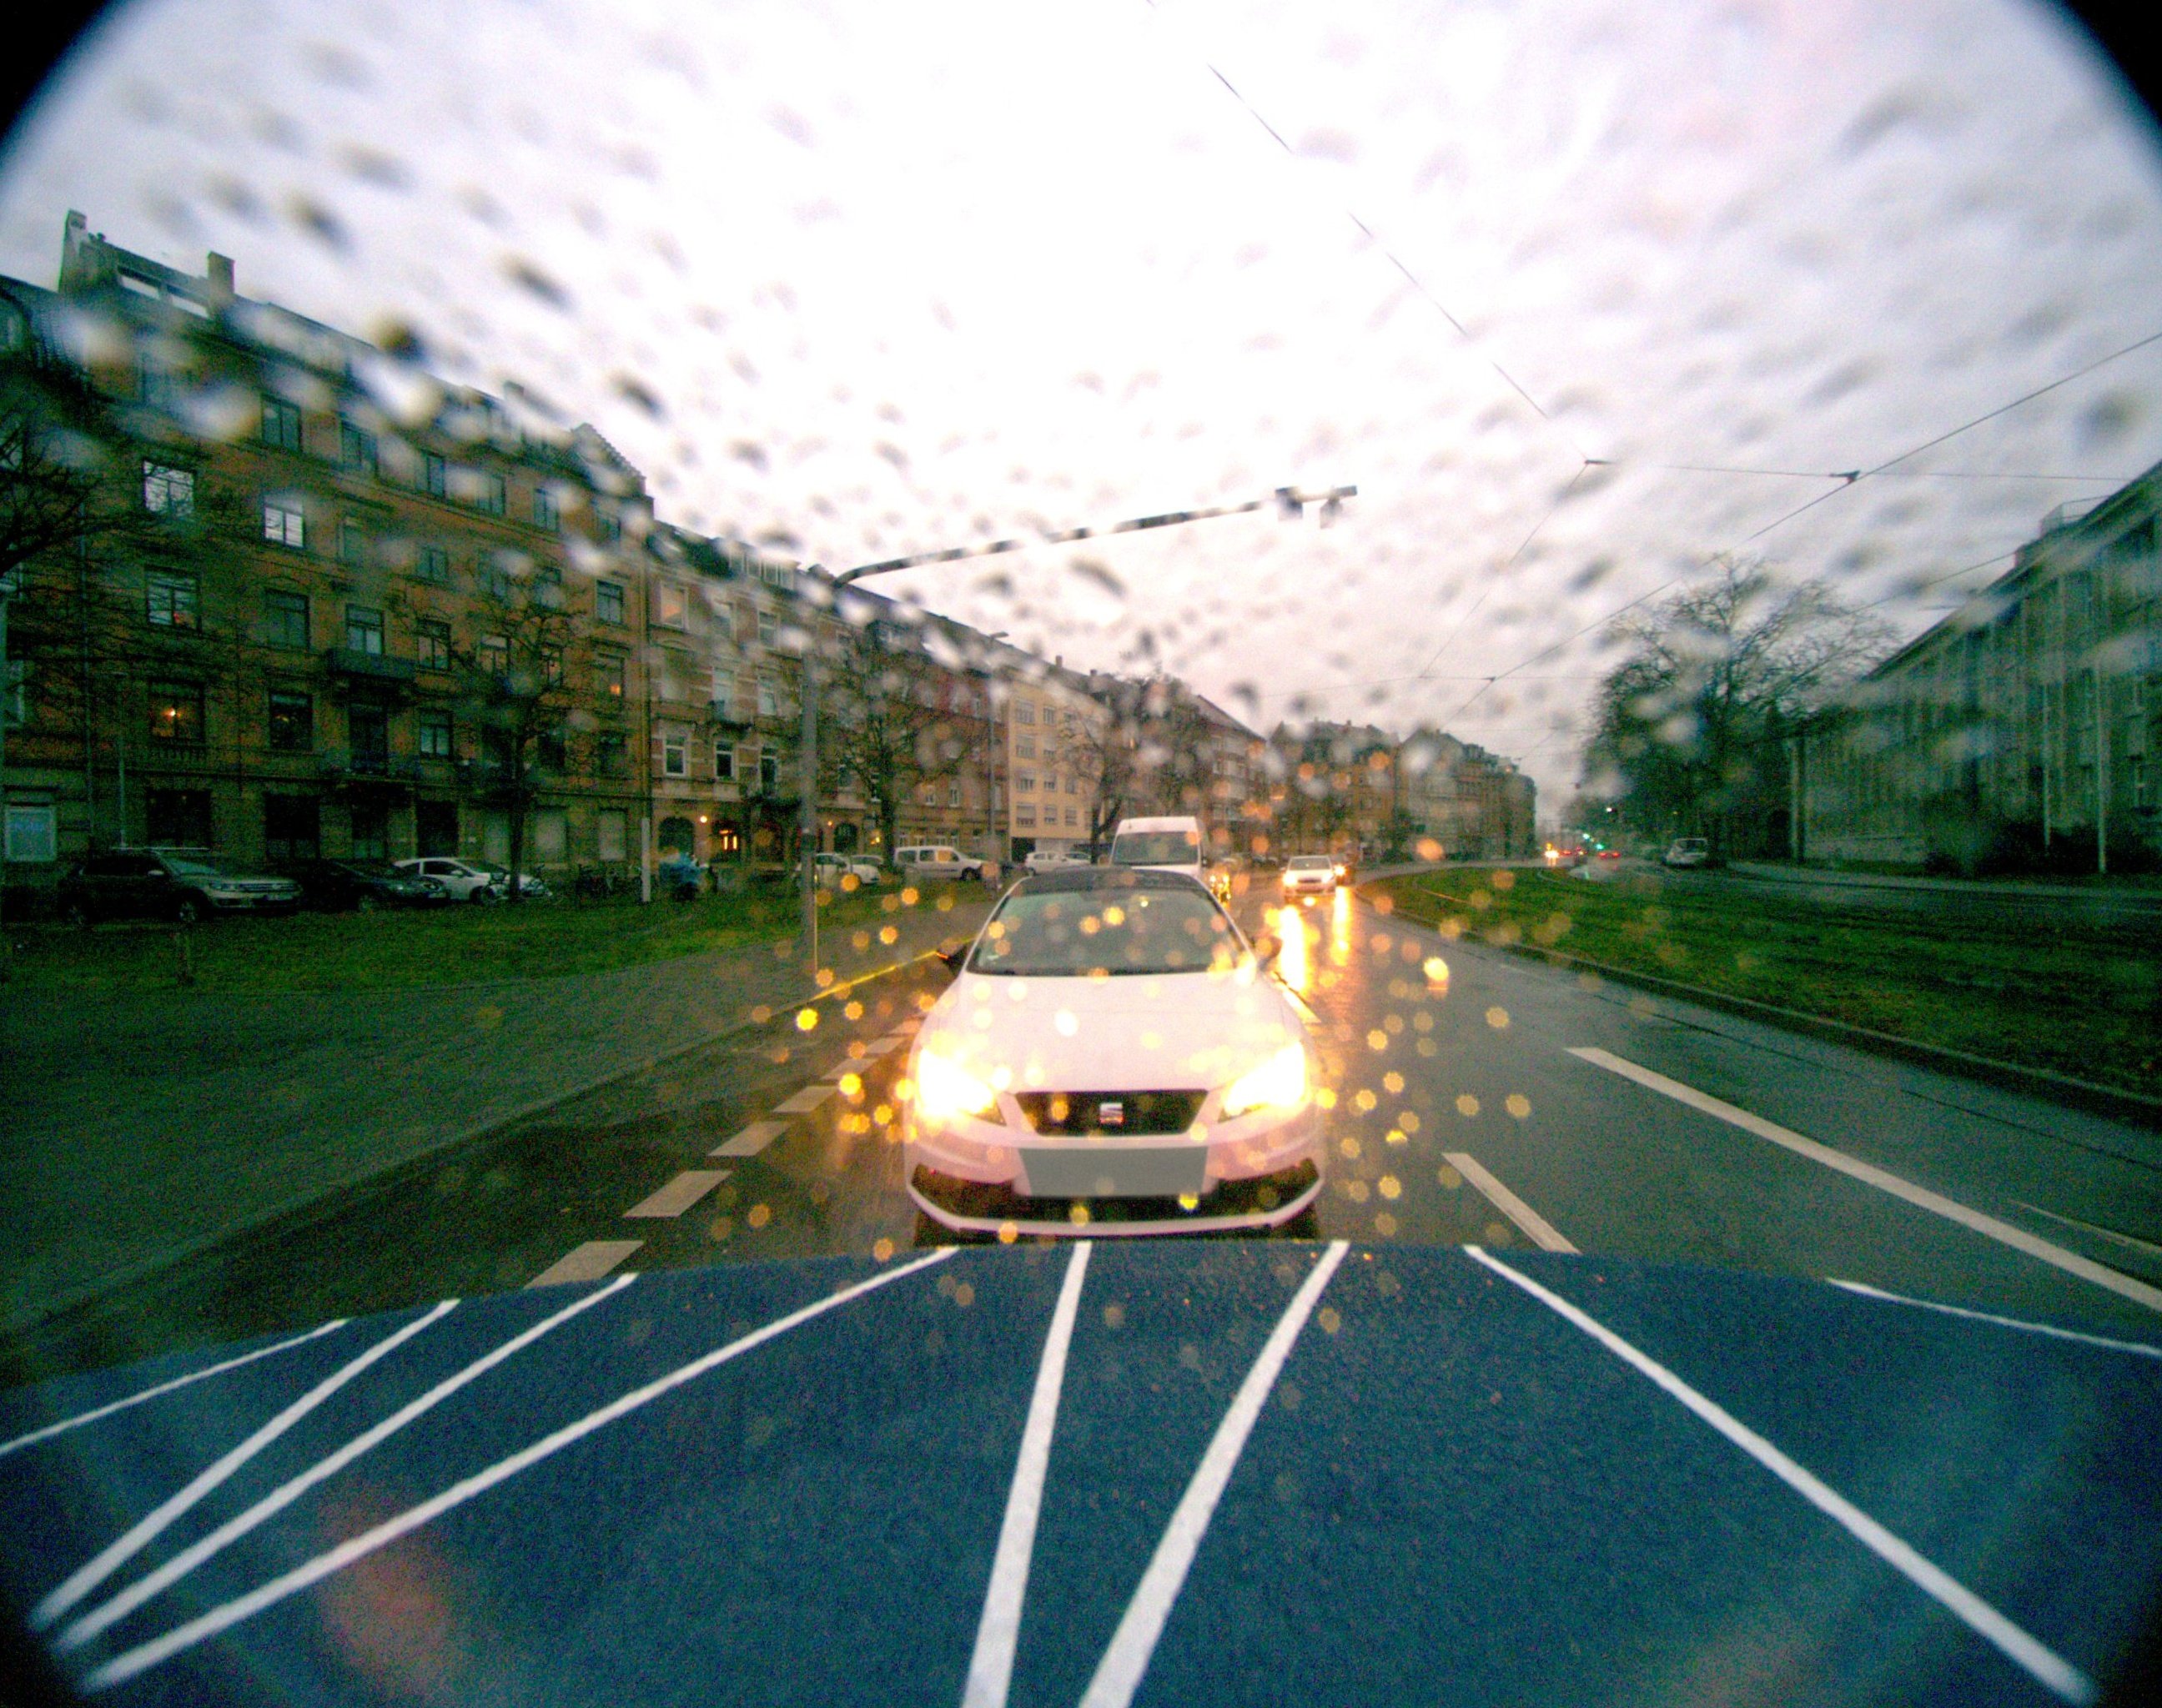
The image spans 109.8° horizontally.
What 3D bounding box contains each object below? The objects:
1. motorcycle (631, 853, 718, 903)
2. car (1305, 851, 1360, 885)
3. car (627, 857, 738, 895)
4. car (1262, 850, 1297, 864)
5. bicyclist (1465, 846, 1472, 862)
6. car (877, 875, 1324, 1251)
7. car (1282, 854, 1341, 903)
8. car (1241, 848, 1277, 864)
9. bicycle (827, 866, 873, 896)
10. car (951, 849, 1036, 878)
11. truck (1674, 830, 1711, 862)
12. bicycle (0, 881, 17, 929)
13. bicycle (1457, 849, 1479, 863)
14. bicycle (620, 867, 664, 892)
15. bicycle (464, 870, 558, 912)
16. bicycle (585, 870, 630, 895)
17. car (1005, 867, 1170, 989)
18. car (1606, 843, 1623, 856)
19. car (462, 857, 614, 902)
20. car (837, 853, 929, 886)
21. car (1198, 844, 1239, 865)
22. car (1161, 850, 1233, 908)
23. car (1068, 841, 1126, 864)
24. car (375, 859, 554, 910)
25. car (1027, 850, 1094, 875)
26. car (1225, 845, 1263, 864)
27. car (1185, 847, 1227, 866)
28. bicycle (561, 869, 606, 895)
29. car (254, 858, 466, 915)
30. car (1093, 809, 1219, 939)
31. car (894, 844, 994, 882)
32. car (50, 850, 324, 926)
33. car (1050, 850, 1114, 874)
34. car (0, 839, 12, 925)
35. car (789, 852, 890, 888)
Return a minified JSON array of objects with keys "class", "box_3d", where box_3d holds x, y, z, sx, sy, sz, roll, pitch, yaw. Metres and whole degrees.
[{"class":"motorcycle","box_3d":[-12.070,0.697,22.571,2.352,1.338,0.886,2,2,19]},{"class":"car","box_3d":[12.214,0.644,36.771,1.836,1.524,3.823,-1,0,28]},{"class":"car","box_3d":[-14.749,0.802,28.207,3.297,1.298,1.522,-1,0,5]},{"class":"car","box_3d":[18.876,0.312,72.152,3.181,1.276,1.383,-1,0,14]},{"class":"bicyclist","box_3d":[49.333,-0.027,96.731,0.777,2.002,0.831,-2,1,29]},{"class":"car","box_3d":[0.139,0.927,5.242,1.787,1.370,4.223,-2,0,2]},{"class":"car","box_3d":[7.544,0.767,24.733,1.687,1.422,3.351,-1,0,19]},{"class":"car","box_3d":[16.222,0.205,69.136,3.181,1.405,1.383,-1,0,14]},{"class":"bicycle","box_3d":[-7.917,0.915,25.990,1.790,0.926,0.447,2,1,33]},{"class":"car","box_3d":[-4.414,0.475,38.714,3.958,1.436,1.703,-1,0,10]},{"class":"truck","box_3d":[41.615,-0.536,51.777,1.833,2.032,4.008,0,0,37]},{"class":"bicycle","box_3d":[-22.178,0.992,15.115,1.792,0.926,0.446,1,1,10]},{"class":"bicycle","box_3d":[49.313,0.264,96.778,2.446,1.697,0.847,-2,1,30]},{"class":"bicycle","box_3d":[-15.387,0.894,26.611,1.791,0.813,0.395,1,1,25]},{"class":"bicycle","box_3d":[-14.574,0.921,19.485,1.911,1.013,0.535,0,1,-36]},{"class":"bicycle","box_3d":[-15.907,0.942,25.518,1.790,0.773,0.447,1,1,28]},{"class":"car","box_3d":[0.279,0.947,11.197,1.722,1.380,3.825,-1,0,11]},{"class":"car","box_3d":[67.297,-0.532,95.889,1.686,1.630,3.654,-1,0,34]},{"class":"car","box_3d":[-16.778,0.766,23.573,3.684,1.298,1.521,-1,0,4]},{"class":"car","box_3d":[-8.863,0.673,34.119,3.684,1.428,1.522,-1,0,5]},{"class":"car","box_3d":[11.264,0.052,62.106,3.181,1.615,1.429,-1,0,13]},{"class":"car","box_3d":[3.899,0.754,25.024,1.874,1.679,4.175,-1,0,15]},{"class":"car","box_3d":[1.040,-0.104,48.388,3.611,1.362,1.618,-1,0,3]},{"class":"car","box_3d":[-17.044,0.818,21.115,3.684,1.298,1.669,-1,0,4]},{"class":"car","box_3d":[-1.157,0.457,43.623,3.609,1.362,1.619,-1,0,9]},{"class":"car","box_3d":[14.352,0.075,66.783,3.181,1.615,1.447,-1,0,13]},{"class":"car","box_3d":[9.856,0.189,59.729,3.181,1.420,1.429,-1,0,13]},{"class":"bicycle","box_3d":[-16.408,0.915,25.034,1.790,0.790,0.447,1,1,28]},{"class":"car","box_3d":[-17.813,0.771,18.879,3.684,1.298,1.742,-1,0,4]},{"class":"car","box_3d":[1.935,0.380,17.359,2.239,2.448,5.674,-1,0,12]},{"class":"car","box_3d":[-6.525,0.417,36.466,4.341,1.757,1.782,-1,0,4]},{"class":"car","box_3d":[-19.542,0.717,16.723,4.152,1.560,1.742,-1,0,4]},{"class":"car","box_3d":[0.075,0.468,45.892,3.609,1.362,1.619,-1,0,9]},{"class":"car","box_3d":[-29.177,0.731,17.785,1.994,2.176,4.670,-1,0,33]},{"class":"car","box_3d":[-10.028,0.649,31.631,3.684,1.391,1.522,-1,0,5]}]
